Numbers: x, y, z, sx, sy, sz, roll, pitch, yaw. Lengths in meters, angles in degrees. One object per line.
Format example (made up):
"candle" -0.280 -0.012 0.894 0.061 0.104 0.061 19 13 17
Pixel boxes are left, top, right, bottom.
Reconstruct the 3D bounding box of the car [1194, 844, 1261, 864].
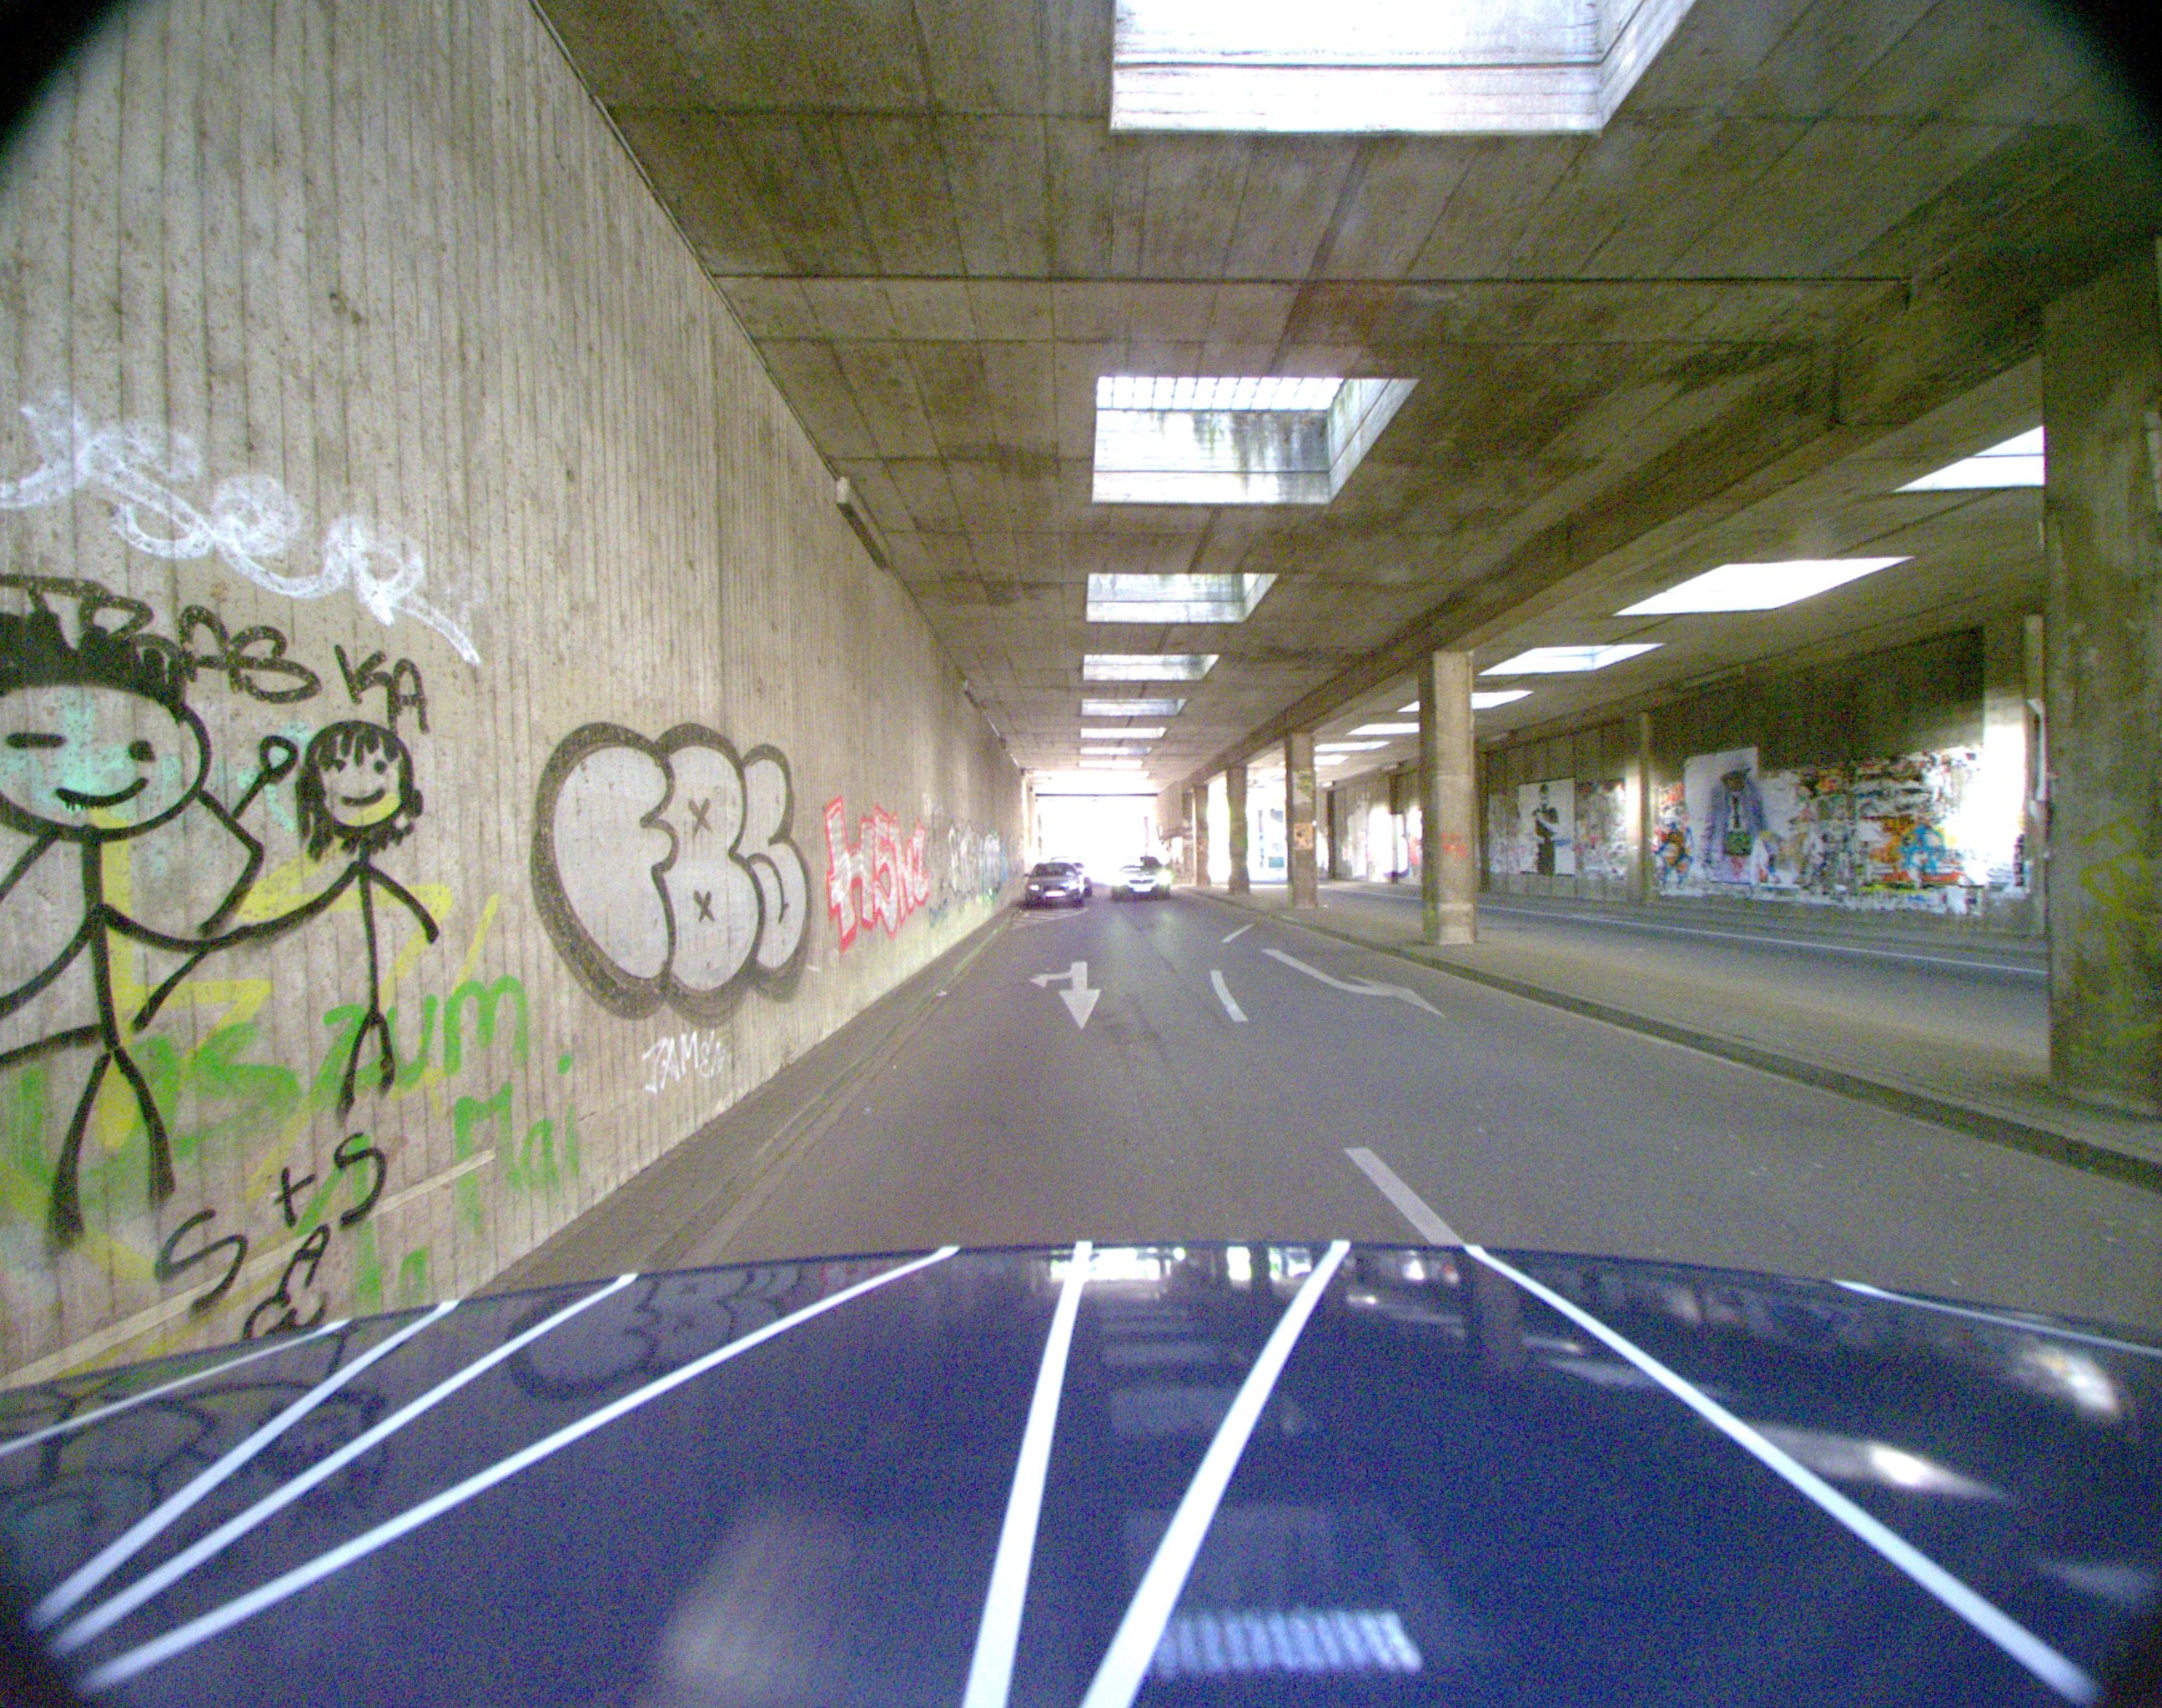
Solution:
"car" 15.281 -0.022 79.215 6.537 1.740 1.999 -2 1 -3

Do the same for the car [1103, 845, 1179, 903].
"car" 1.950 0.615 26.250 1.999 1.740 4.858 -2 1 -2

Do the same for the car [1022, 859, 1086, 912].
"car" -0.757 0.926 23.968 1.767 1.407 3.999 -2 1 1

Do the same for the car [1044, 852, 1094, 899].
"car" -0.490 0.775 29.857 1.767 1.634 3.999 -2 1 -2
